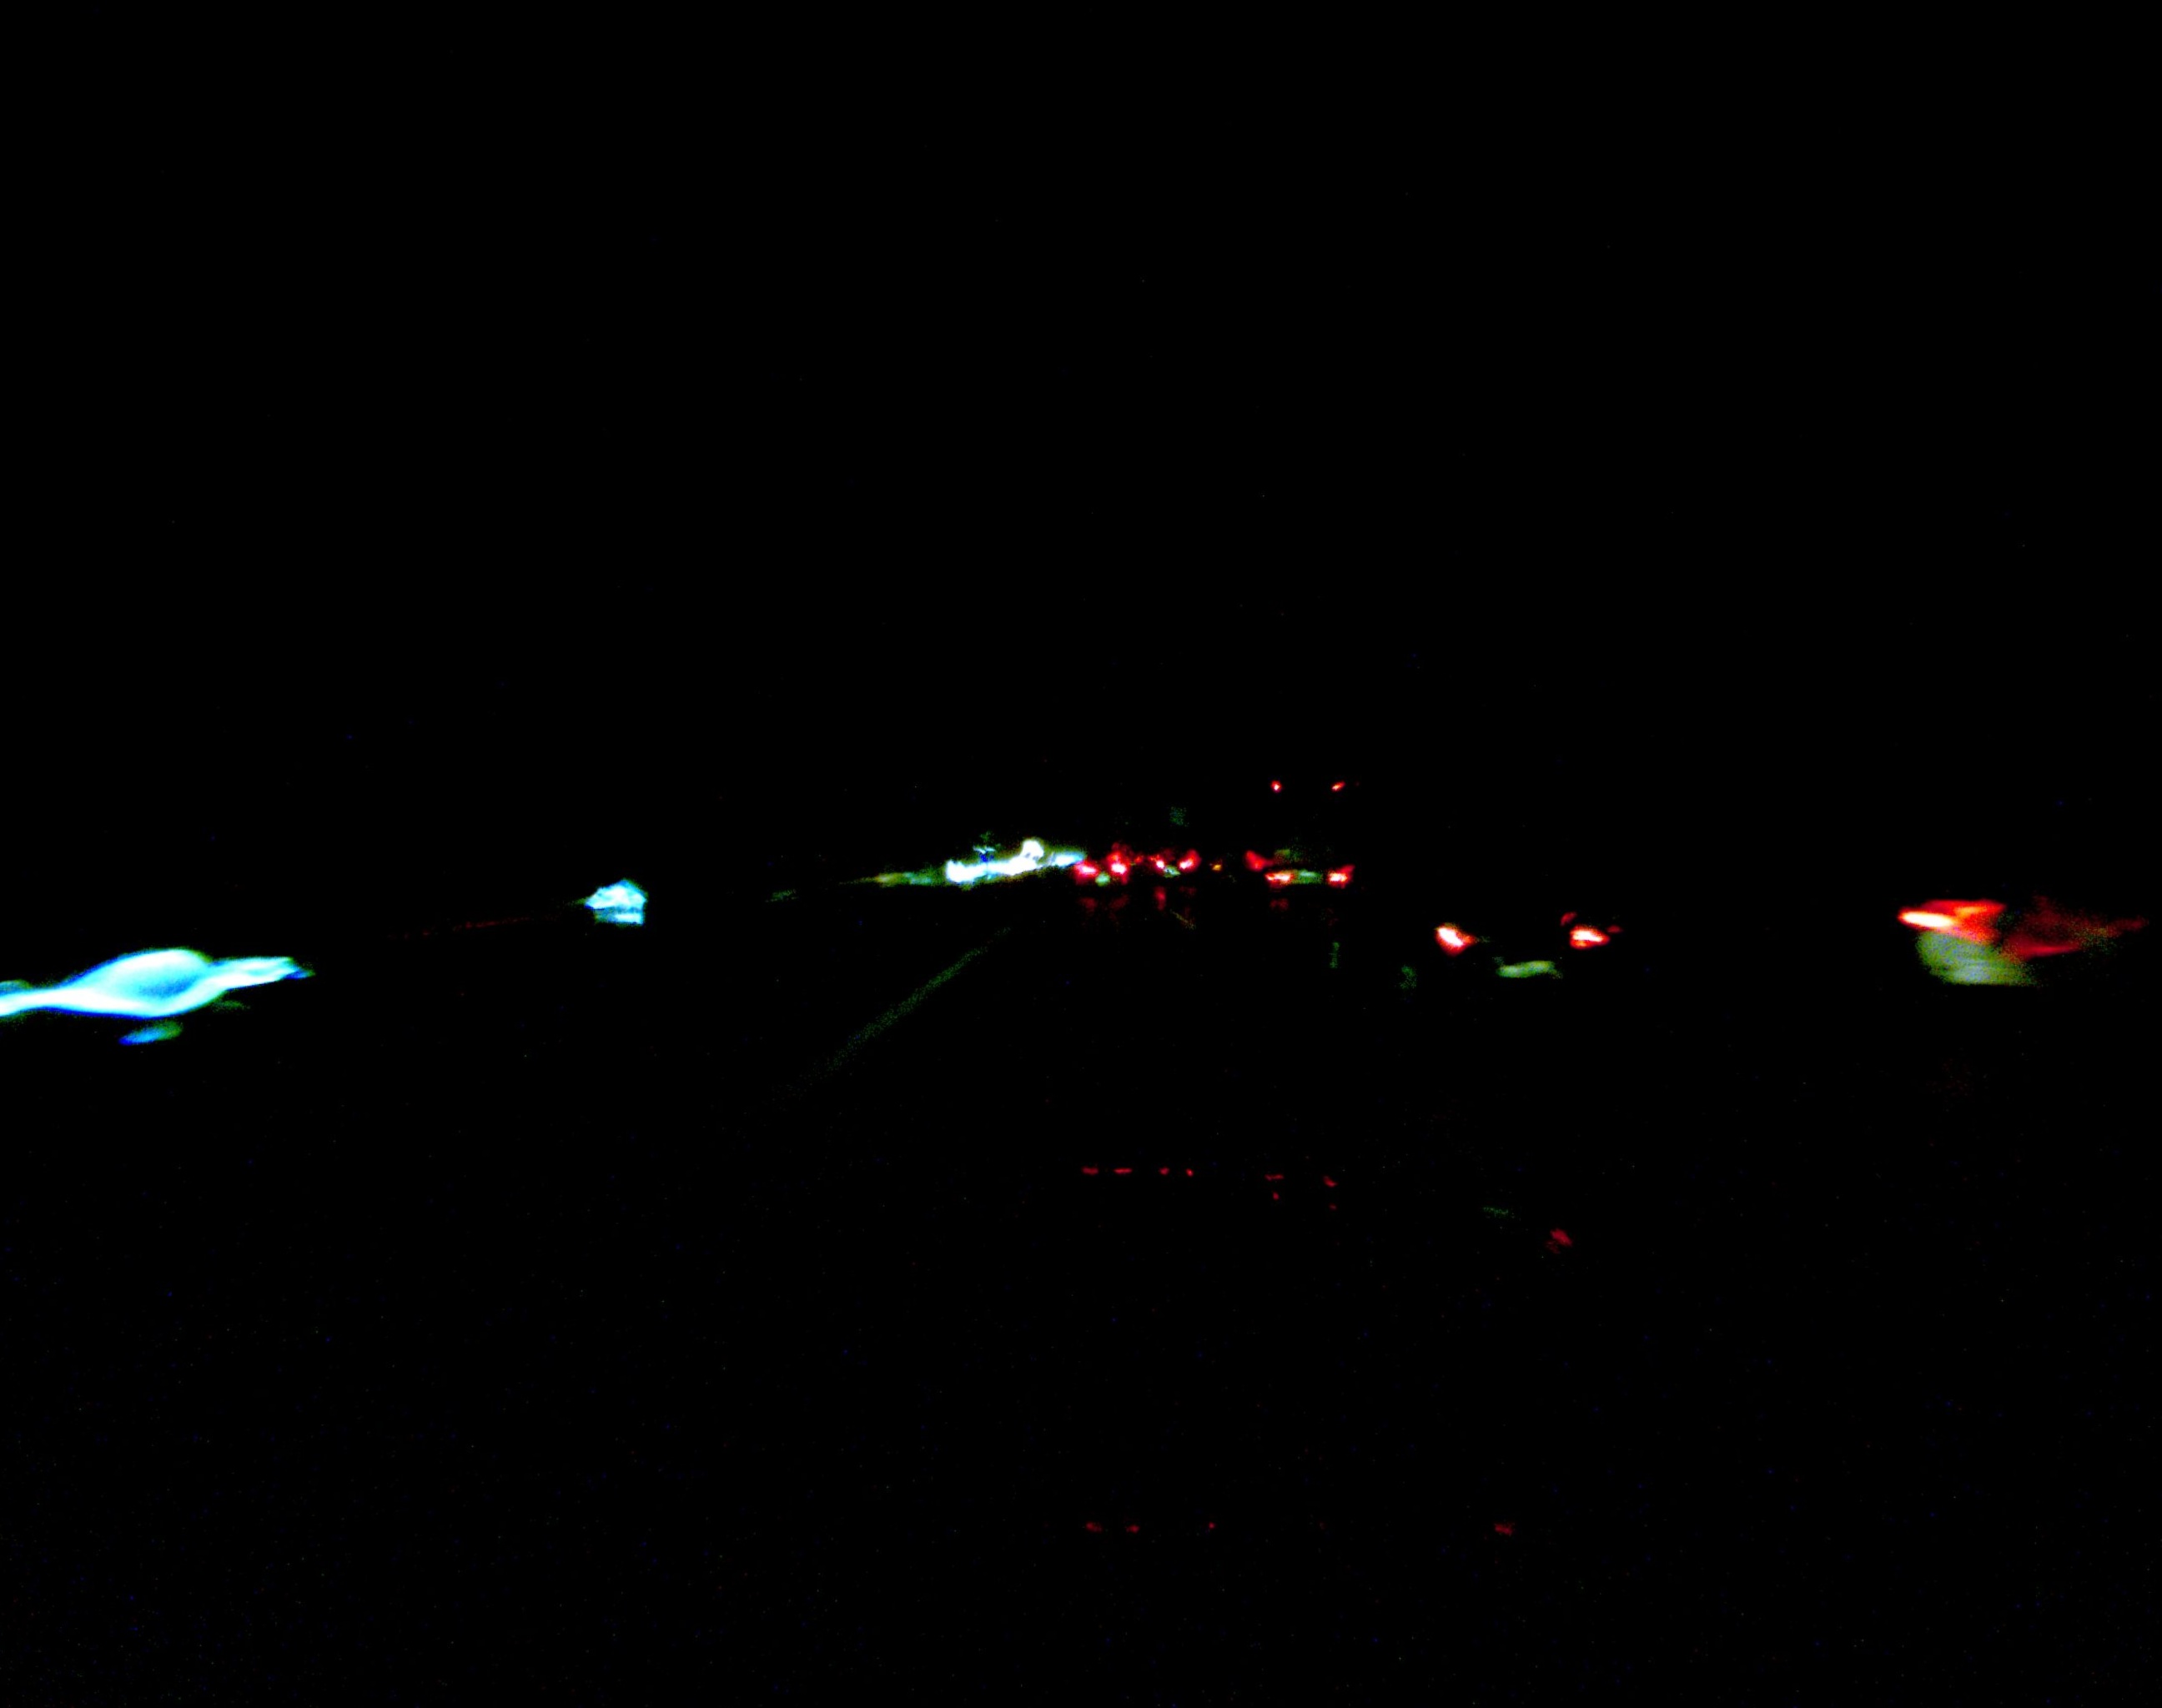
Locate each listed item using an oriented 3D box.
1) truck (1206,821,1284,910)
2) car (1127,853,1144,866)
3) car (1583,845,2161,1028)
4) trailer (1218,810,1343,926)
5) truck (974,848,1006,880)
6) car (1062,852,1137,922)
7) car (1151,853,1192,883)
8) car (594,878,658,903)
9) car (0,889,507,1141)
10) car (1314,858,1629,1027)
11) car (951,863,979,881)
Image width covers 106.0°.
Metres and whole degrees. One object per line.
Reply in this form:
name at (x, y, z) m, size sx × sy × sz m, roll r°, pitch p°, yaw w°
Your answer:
truck at (8.458, 0.550, 42.926) m, size 2.793 × 4.267 × 7.450 m, roll -1°, pitch 0°, yaw 1°
car at (6.998, 0.747, 104.803) m, size 2.128 × 1.618 × 4.002 m, roll 0°, pitch -1°, yaw 2°
car at (8.075, 0.659, 9.128) m, size 1.888 × 1.486 × 4.962 m, roll 0°, pitch 0°, yaw 0°
trailer at (8.294, 0.545, 35.789) m, size 2.793 × 4.212 × 12.100 m, roll -1°, pitch 0°, yaw 1°
truck at (-13.369, 1.439, 120.438) m, size 2.920 × 4.327 × 11.440 m, roll -3°, pitch -1°, yaw 2°
car at (0.715, 1.236, 34.000) m, size 2.701 × 2.534 × 5.830 m, roll -3°, pitch 0°, yaw 0°
car at (4.959, 0.747, 45.039) m, size 1.877 × 1.588 × 4.001 m, roll -1°, pitch 0°, yaw 1°
car at (-29.635, 2.371, 53.190) m, size 1.858 × 1.471 × 4.350 m, roll 0°, pitch -1°, yaw -2°
car at (-8.370, 1.306, 8.166) m, size 1.987 × 1.616 × 4.418 m, roll -3°, pitch 0°, yaw 1°
car at (3.856, 0.759, 8.811) m, size 1.607 × 1.412 × 3.792 m, roll -1°, pitch 0°, yaw 0°
car at (-10.724, 1.647, 75.627) m, size 1.854 × 1.581 × 4.515 m, roll 0°, pitch -1°, yaw 2°
